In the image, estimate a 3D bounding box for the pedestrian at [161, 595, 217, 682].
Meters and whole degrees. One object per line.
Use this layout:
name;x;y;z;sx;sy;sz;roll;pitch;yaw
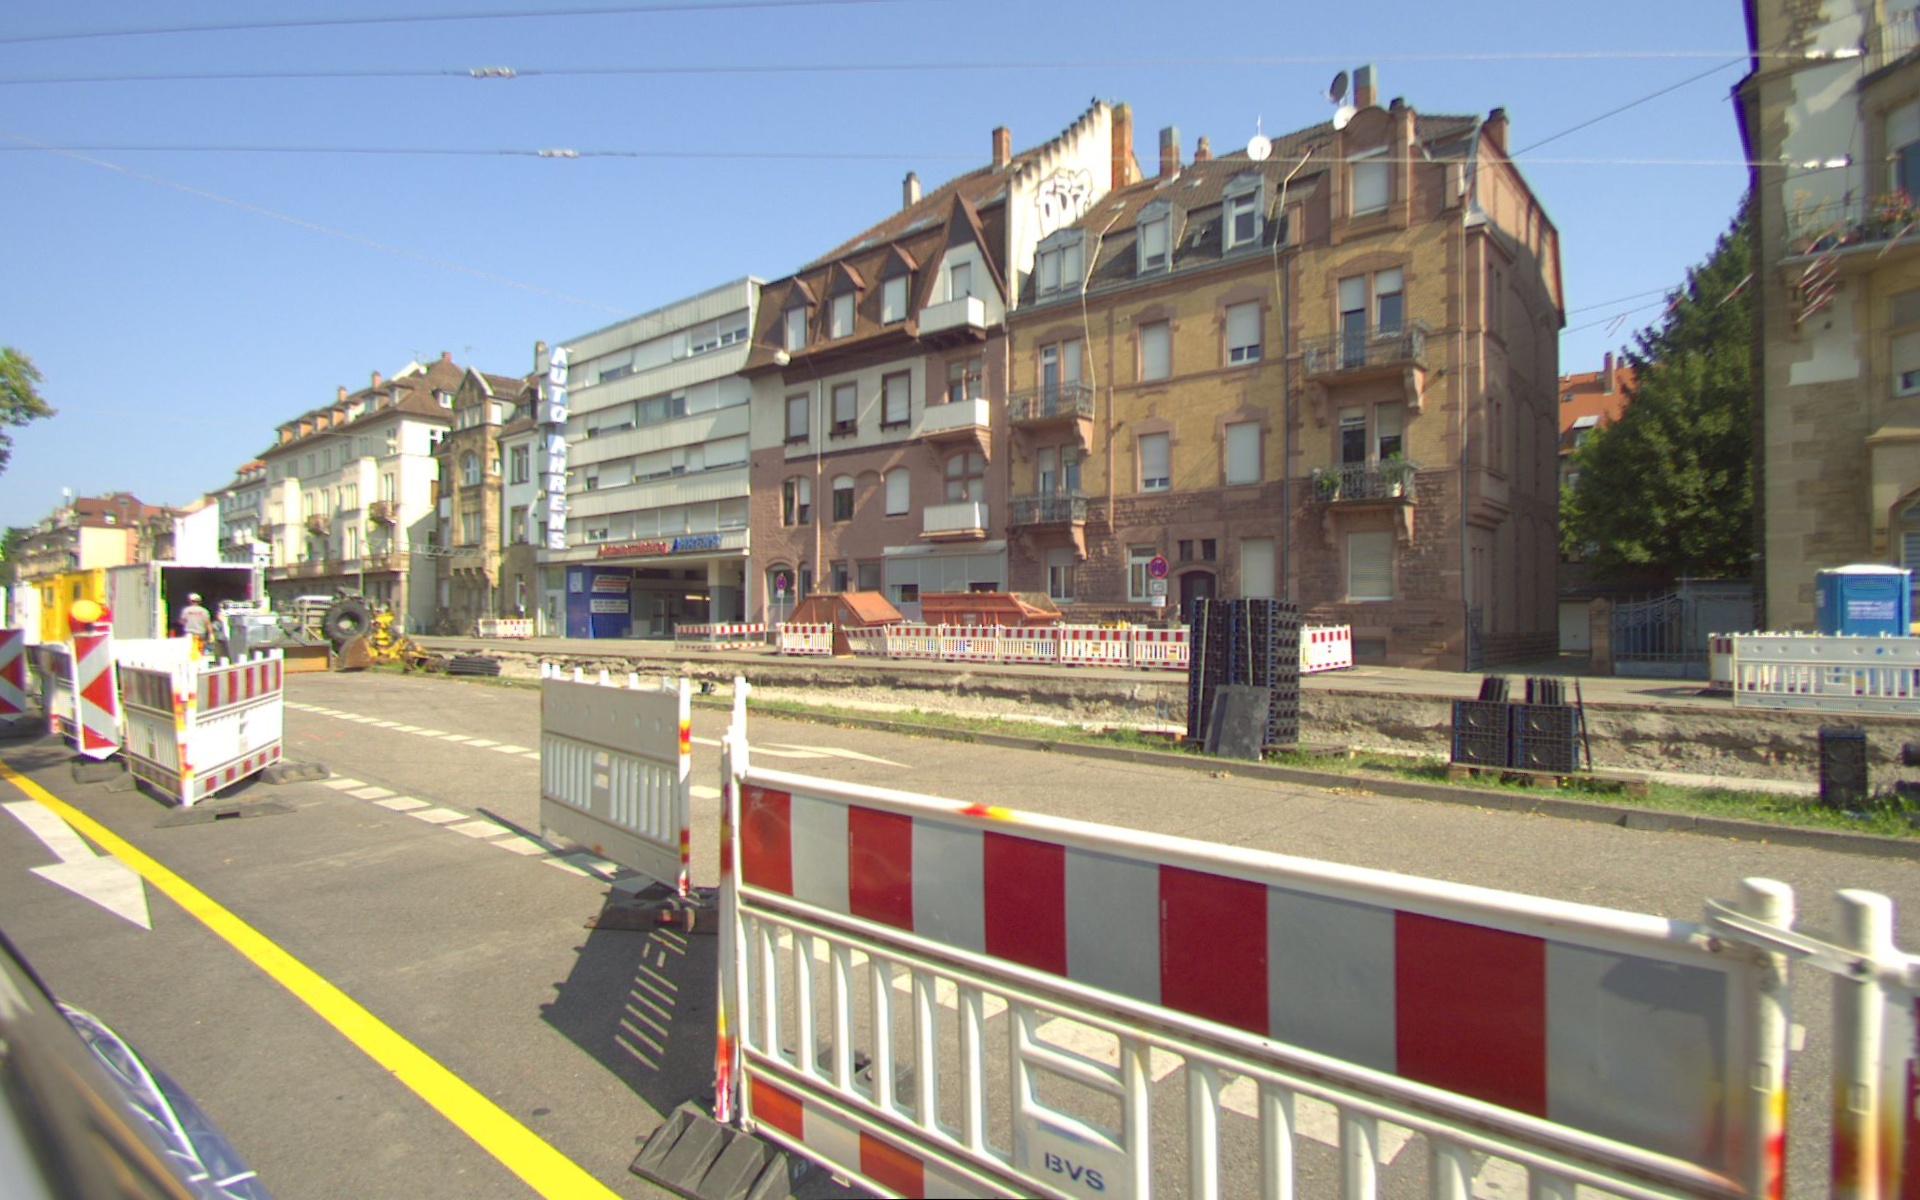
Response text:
pedestrian;-16.506;0.819;21.667;0.596;1.811;0.793;-1;-3;41

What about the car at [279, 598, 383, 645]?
car;-30.952;1.019;49.664;7.118;2.151;2.336;-1;-2;41
